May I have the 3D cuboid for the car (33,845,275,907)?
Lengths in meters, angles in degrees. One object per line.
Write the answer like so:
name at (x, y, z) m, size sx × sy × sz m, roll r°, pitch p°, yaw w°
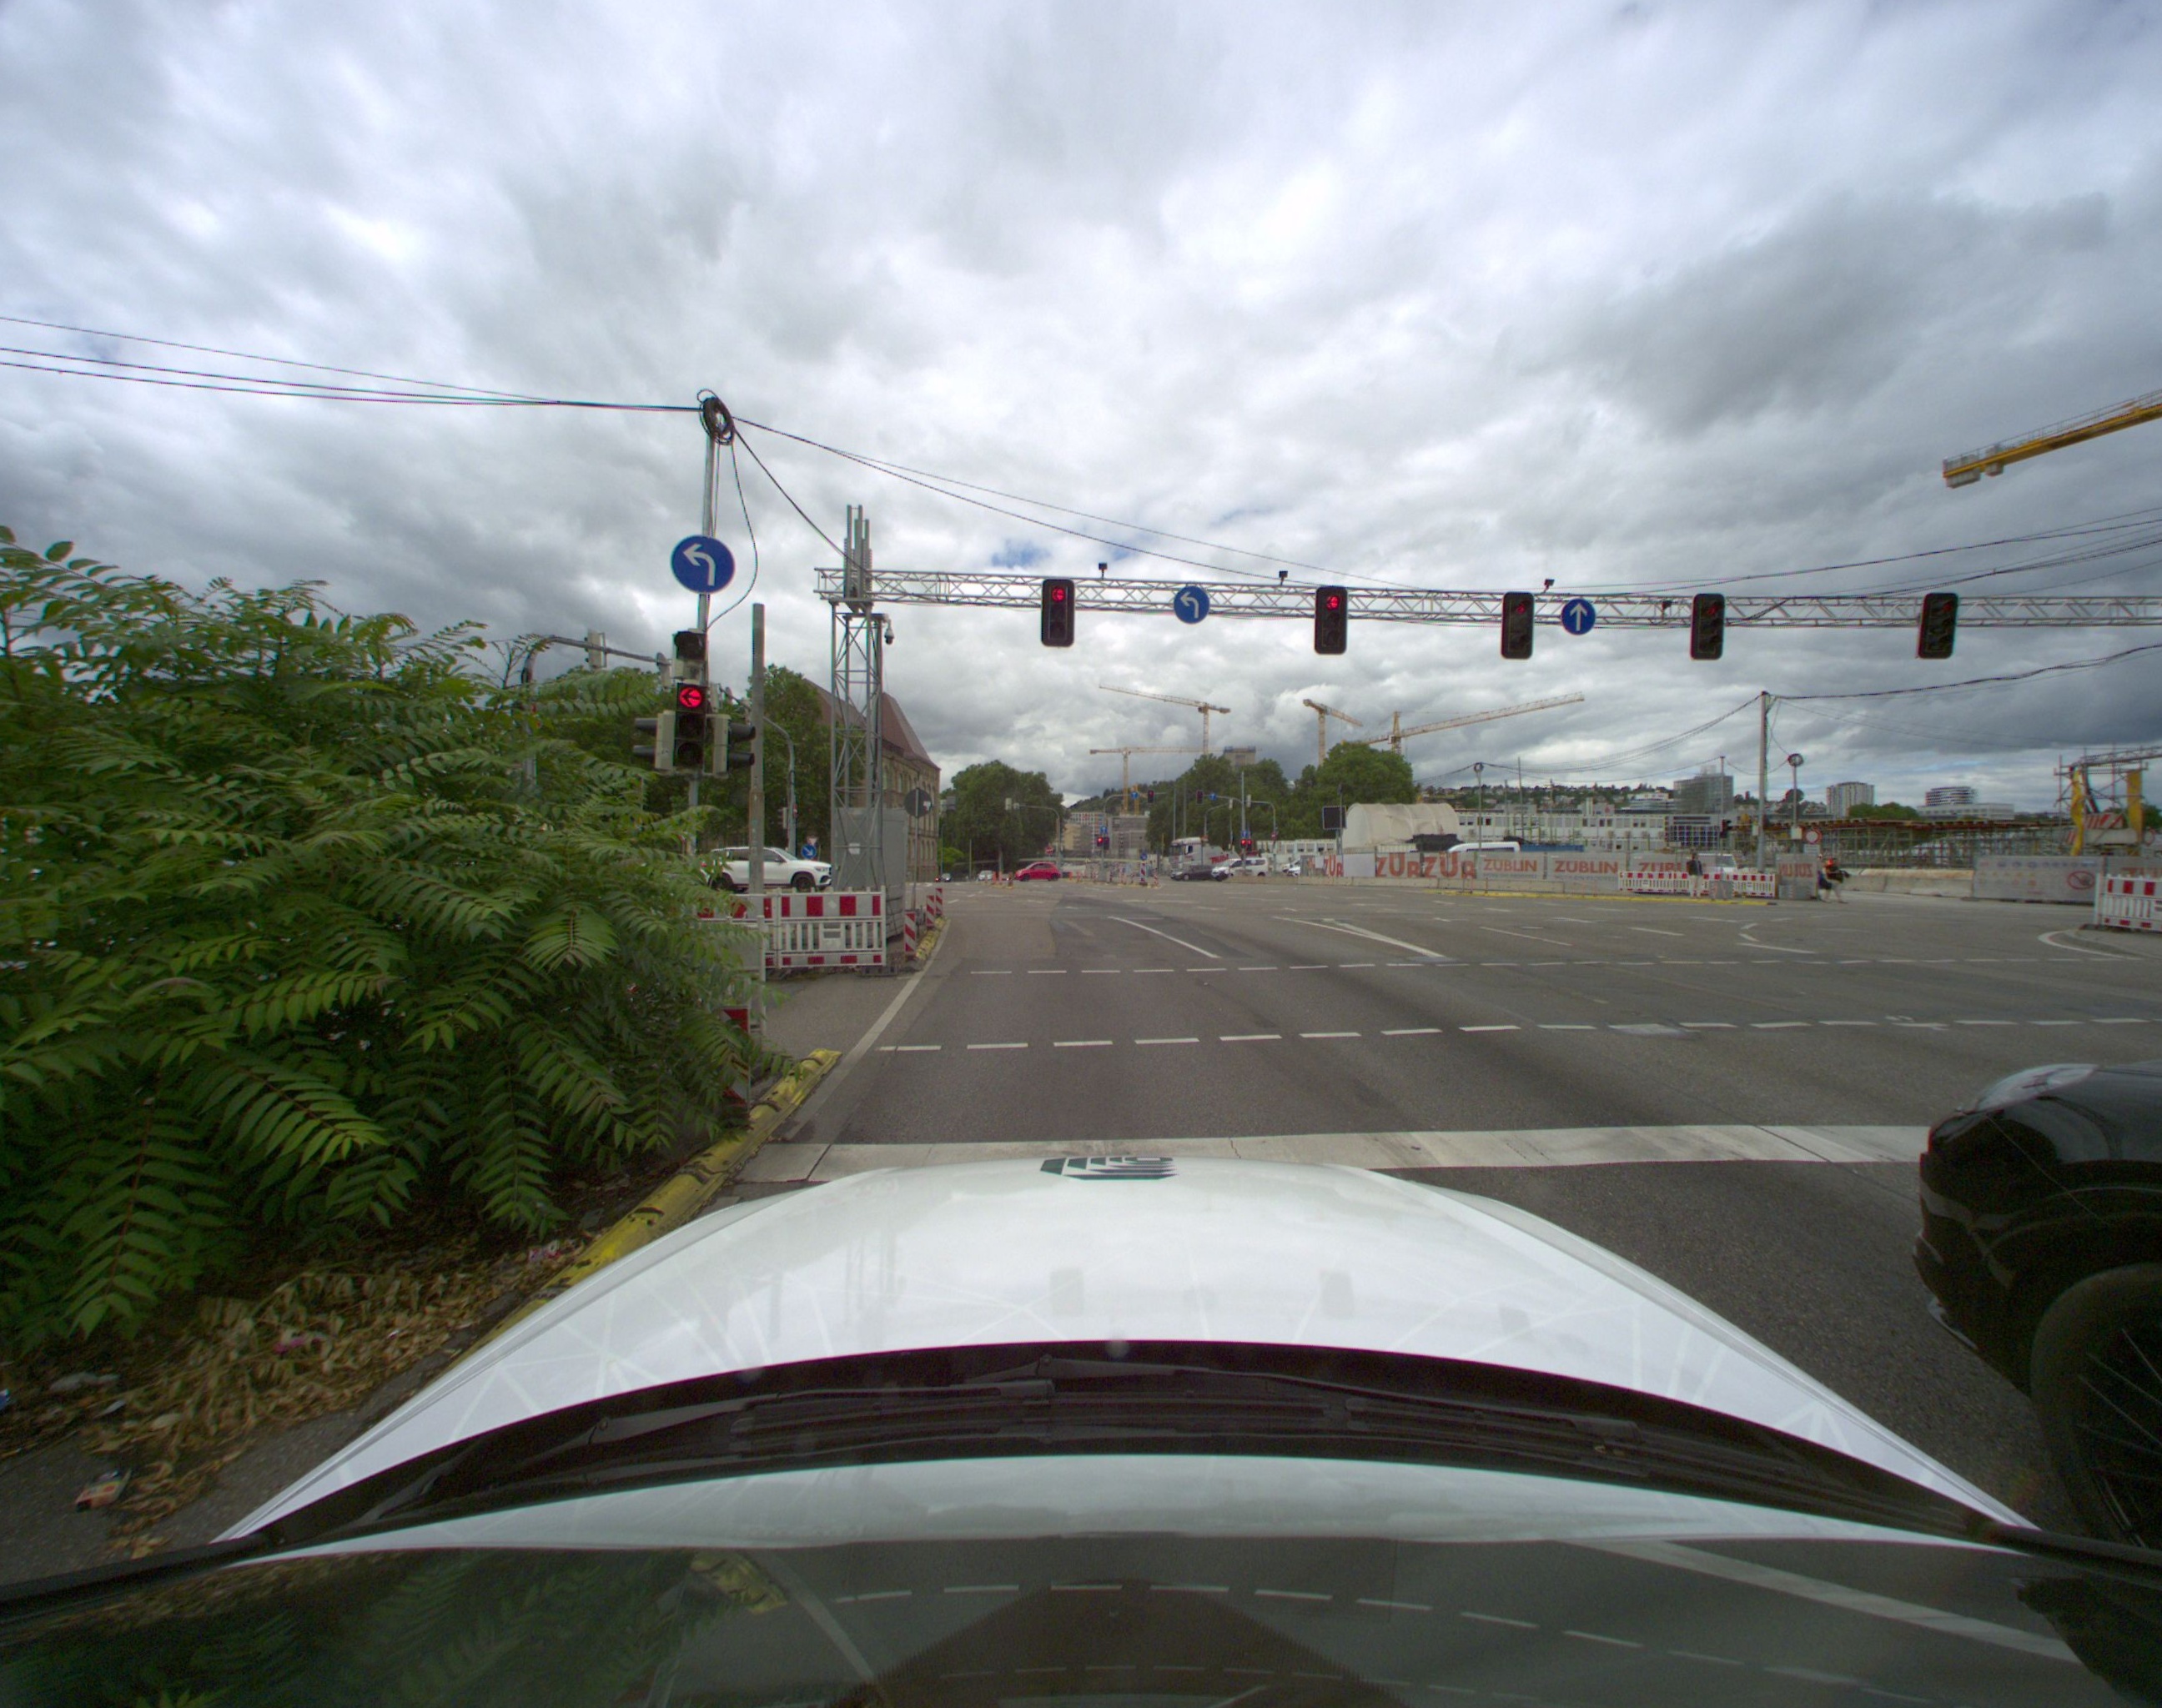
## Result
car at (-24.765, 0.564, 21.889) m, size 4.095 × 1.547 × 1.999 m, roll 0°, pitch -1°, yaw -2°

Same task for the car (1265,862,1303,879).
car at (22.241, 1.812, 89.287) m, size 2.004 × 1.838 × 3.966 m, roll 0°, pitch -1°, yaw -26°

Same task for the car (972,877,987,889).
car at (-16.707, 4.690, 134.104) m, size 1.987 × 1.838 × 3.998 m, roll 0°, pitch -1°, yaw -1°

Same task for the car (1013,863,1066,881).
car at (-3.302, 1.396, 64.306) m, size 3.820 × 1.386 × 1.792 m, roll 0°, pitch -1°, yaw -20°

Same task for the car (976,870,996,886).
car at (-11.527, 2.940, 99.370) m, size 1.987 × 1.838 × 3.998 m, roll 0°, pitch -1°, yaw -1°

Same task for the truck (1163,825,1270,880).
truck at (12.787, -0.133, 76.625) m, size 9.750 × 4.961 × 3.092 m, roll 0°, pitch -1°, yaw -21°

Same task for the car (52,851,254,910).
car at (-28.771, 0.800, 25.365) m, size 3.975 × 1.740 × 1.909 m, roll 1°, pitch -1°, yaw -1°

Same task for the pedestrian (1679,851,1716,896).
pedestrian at (25.739, 0.815, 34.015) m, size 1.035 × 1.848 × 0.794 m, roll -1°, pitch -1°, yaw 17°

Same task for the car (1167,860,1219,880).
car at (9.890, 1.371, 71.844) m, size 4.176 × 1.701 × 1.955 m, roll 0°, pitch -1°, yaw -18°

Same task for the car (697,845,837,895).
car at (-11.707, 0.584, 30.640) m, size 4.481 × 1.759 × 1.997 m, roll 0°, pitch -1°, yaw -4°

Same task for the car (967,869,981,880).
car at (-19.260, 3.743, 147.237) m, size 1.987 × 1.838 × 3.998 m, roll 0°, pitch -1°, yaw -1°

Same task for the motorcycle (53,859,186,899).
motorcycle at (-23.535, 0.606, 19.966) m, size 2.342 × 0.941 × 0.697 m, roll 0°, pitch -1°, yaw -2°

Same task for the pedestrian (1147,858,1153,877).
pedestrian at (7.000, 1.366, 82.401) m, size 0.583 × 1.840 × 0.604 m, roll 0°, pitch -1°, yaw -2°

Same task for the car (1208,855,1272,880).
car at (13.673, 1.142, 70.067) m, size 5.149 × 2.014 × 2.063 m, roll 0°, pitch -1°, yaw -21°

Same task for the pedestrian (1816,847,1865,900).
pedestrian at (29.409, 0.750, 31.559) m, size 1.035 × 2.014 × 1.039 m, roll -1°, pitch -1°, yaw 17°

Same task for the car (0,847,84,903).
car at (-31.834, 0.598, 23.269) m, size 4.096 × 1.547 × 1.999 m, roll 0°, pitch -1°, yaw -2°

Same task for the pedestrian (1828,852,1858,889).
pedestrian at (39.176, 0.842, 41.889) m, size 0.677 × 1.916 × 0.865 m, roll 0°, pitch -1°, yaw -4°

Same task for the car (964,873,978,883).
car at (-21.067, 4.575, 156.134) m, size 1.987 × 1.838 × 3.998 m, roll 0°, pitch -1°, yaw -1°

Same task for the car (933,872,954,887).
car at (-17.424, 3.245, 103.614) m, size 1.987 × 1.838 × 3.998 m, roll 0°, pitch -1°, yaw -1°

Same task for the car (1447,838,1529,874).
car at (23.467, 0.124, 47.107) m, size 3.955 × 2.014 × 2.009 m, roll -1°, pitch -1°, yaw 17°

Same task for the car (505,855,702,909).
car at (-13.701, 0.795, 23.586) m, size 4.476 × 1.466 × 2.000 m, roll 0°, pitch -1°, yaw 0°

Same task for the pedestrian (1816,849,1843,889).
pedestrian at (38.287, 0.749, 41.662) m, size 0.673 × 2.014 × 0.869 m, roll -1°, pitch -1°, yaw 14°

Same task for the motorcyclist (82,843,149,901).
motorcyclist at (-23.652, 0.435, 19.970) m, size 0.786 × 1.380 × 0.697 m, roll 0°, pitch -1°, yaw -2°

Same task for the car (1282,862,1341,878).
car at (21.684, 1.502, 76.640) m, size 5.153 × 1.419 × 2.221 m, roll 0°, pitch -1°, yaw -22°
